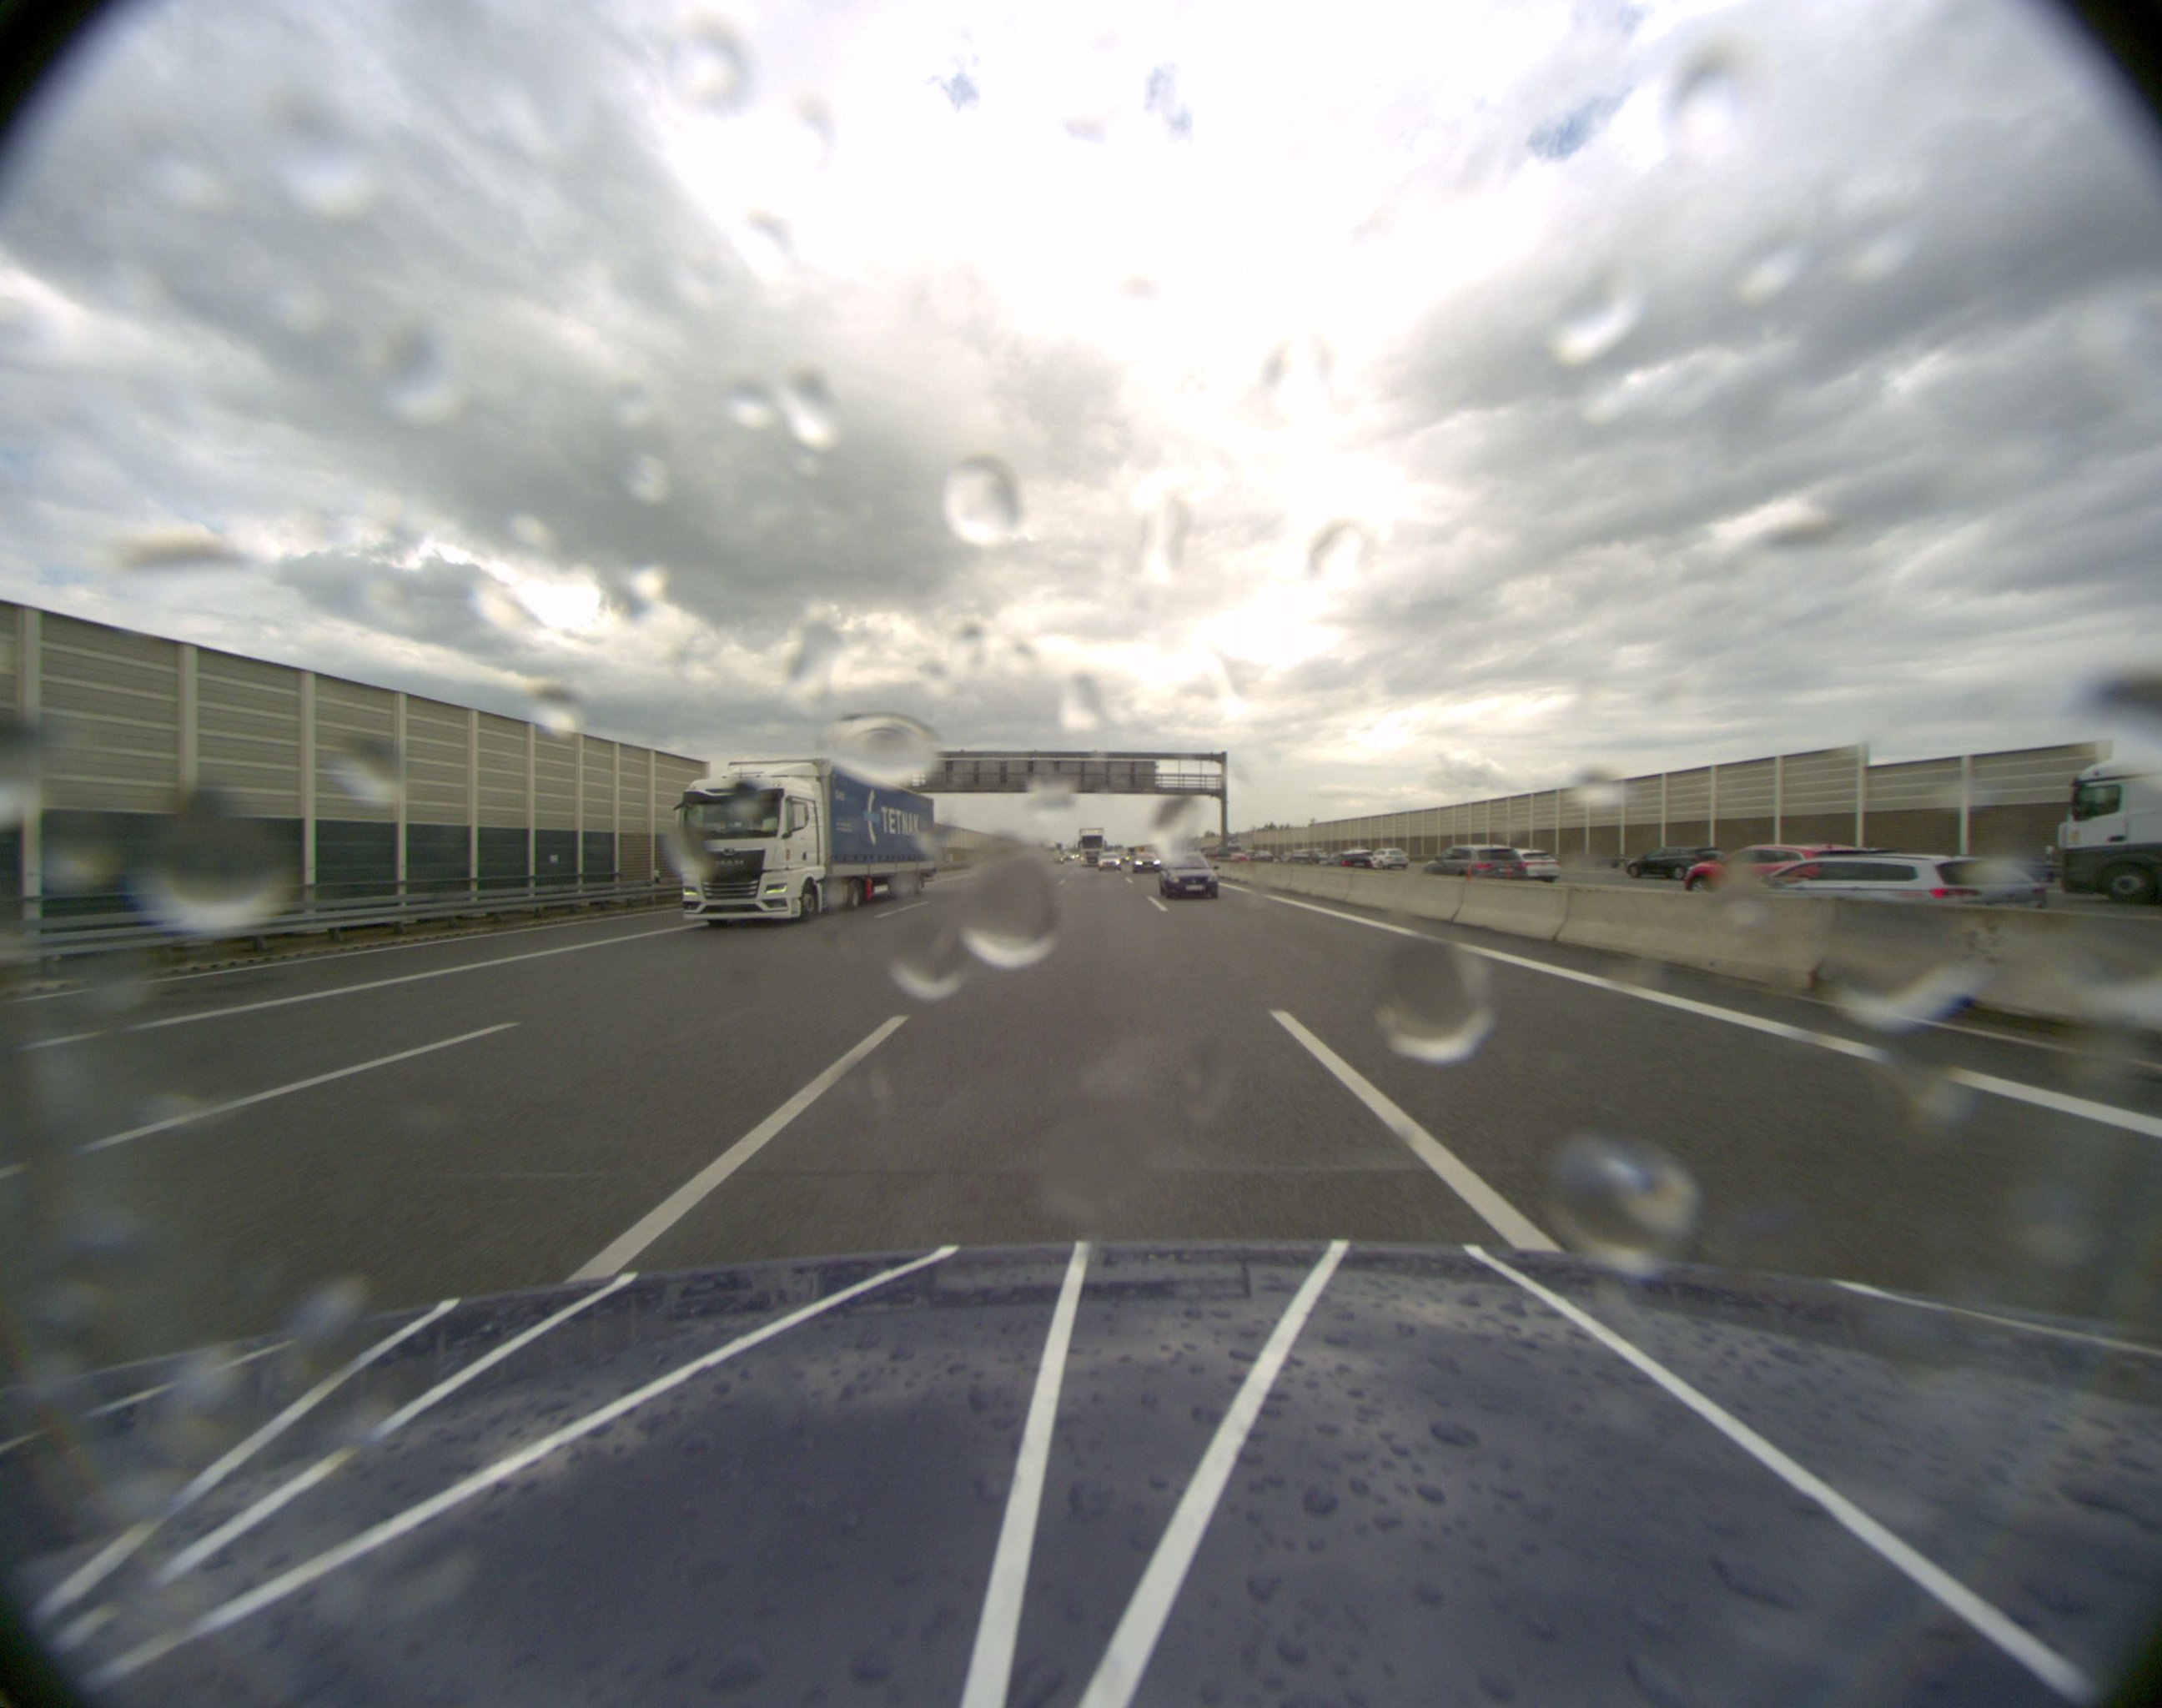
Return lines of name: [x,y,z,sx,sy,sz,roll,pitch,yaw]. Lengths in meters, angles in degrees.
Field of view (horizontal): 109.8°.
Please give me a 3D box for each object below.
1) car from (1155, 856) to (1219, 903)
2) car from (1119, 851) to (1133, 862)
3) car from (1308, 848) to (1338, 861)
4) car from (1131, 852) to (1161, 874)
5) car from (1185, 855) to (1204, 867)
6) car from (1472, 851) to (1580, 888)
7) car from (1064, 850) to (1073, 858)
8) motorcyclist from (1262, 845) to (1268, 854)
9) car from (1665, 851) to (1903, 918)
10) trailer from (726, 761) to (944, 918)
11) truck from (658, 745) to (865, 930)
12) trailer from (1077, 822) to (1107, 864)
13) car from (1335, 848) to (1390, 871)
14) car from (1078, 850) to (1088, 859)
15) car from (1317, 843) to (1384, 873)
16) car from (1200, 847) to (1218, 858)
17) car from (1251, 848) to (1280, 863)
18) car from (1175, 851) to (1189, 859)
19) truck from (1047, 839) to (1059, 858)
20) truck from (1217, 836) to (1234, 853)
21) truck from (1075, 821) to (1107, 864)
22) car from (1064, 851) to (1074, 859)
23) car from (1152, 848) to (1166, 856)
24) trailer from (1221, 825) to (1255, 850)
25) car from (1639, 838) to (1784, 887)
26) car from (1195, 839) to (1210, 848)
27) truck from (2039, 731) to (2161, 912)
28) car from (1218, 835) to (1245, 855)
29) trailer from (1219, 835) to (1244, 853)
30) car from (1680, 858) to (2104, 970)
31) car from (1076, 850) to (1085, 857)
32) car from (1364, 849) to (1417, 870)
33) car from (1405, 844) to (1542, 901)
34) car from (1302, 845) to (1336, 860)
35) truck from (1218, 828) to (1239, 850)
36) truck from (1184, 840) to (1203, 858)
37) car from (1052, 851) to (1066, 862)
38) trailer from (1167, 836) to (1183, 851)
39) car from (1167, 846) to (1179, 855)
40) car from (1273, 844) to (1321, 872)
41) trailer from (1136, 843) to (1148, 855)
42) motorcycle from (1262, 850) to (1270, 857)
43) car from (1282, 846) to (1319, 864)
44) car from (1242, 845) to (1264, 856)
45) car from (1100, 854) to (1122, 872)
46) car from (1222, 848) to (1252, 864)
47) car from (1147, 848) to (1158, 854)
car: [3.395,0.778,25.021,1.578,1.395,4.000,-1,0,1]
car: [5.836,0.317,98.661,1.498,1.395,3.999,-1,0,0]
car: [28.126,0.051,88.450,2.065,1.482,4.997,-1,1,2]
car: [4.511,0.582,53.373,1.776,1.451,4.480,-1,0,2]
car: [15.214,0.861,102.065,2.065,1.482,4.997,-1,1,2]
car: [18.758,0.612,32.316,2.065,1.408,4.523,-1,1,2]
car: [-2.228,0.031,138.590,1.498,1.395,3.999,-1,0,0]
motorcyclist: [26.981,-0.628,111.372,0.638,1.217,0.796,-2,1,1]
car: [18.367,0.706,20.259,2.065,1.526,4.719,-1,1,2]
trailer: [-7.679,-0.409,26.914,2.768,4.008,14.452,-1,0,1]
truck: [-7.796,-0.371,19.471,2.751,4.011,5.725,-1,1,1]
trailer: [1.325,-1.149,84.807,2.925,4.188,13.197,-2,0,2]
car: [19.402,0.332,52.650,2.065,1.482,4.997,-1,1,2]
car: [0.384,0.057,131.334,1.698,1.395,4.000,-1,0,0]
car: [14.723,0.168,41.788,2.065,1.526,4.997,-1,1,2]
car: [19.516,-0.236,116.319,2.065,1.482,4.997,-1,1,2]
car: [19.865,0.117,81.832,2.065,1.482,4.997,-1,1,2]
car: [19.864,0.189,149.140,2.065,1.590,4.996,-1,1,0]
truck: [-6.392,-1.254,173.946,2.600,4.088,11.368,-1,0,-2]
truck: [34.552,-2.278,181.963,2.924,4.011,5.725,-1,1,0]
truck: [1.095,-1.126,78.245,2.913,4.146,5.193,-2,0,3]
car: [-2.136,0.110,138.453,1.699,1.395,3.999,-1,0,-3]
car: [14.516,-0.347,141.893,2.065,1.482,4.996,-1,1,-1]
trailer: [27.022,-2.698,131.631,2.768,4.008,14.451,-1,0,0]
car: [26.209,0.300,31.887,2.065,1.869,4.997,-1,1,2]
car: [23.133,-1.953,144.369,2.065,1.590,4.996,-1,1,0]
truck: [25.480,-0.739,16.187,2.979,4.011,5.726,-1,1,2]
car: [19.666,-1.142,99.582,2.389,2.535,7.086,-1,1,2]
trailer: [34.566,-2.227,174.839,2.943,4.008,13.858,-1,0,0]
car: [14.145,0.906,13.978,2.065,1.526,5.470,-1,1,2]
car: [-0.136,-0.086,169.501,1.698,1.395,4.000,-1,0,2]
car: [22.877,0.367,56.413,2.065,1.482,4.997,-1,1,2]
car: [14.467,0.586,28.549,2.065,1.869,6.328,-1,1,2]
car: [24.255,-0.164,77.759,2.065,1.482,4.997,-1,1,2]
truck: [27.011,-2.731,139.108,2.752,4.011,5.725,-1,1,0]
truck: [23.928,-1.100,161.653,2.703,3.507,9.995,-2,0,1]
car: [-2.962,0.301,102.183,1.698,1.395,3.999,-1,0,0]
trailer: [27.219,-3.036,220.439,2.768,4.008,14.451,-1,0,0]
car: [19.915,-0.748,164.440,1.878,1.689,5.014,-1,0,-1]
car: [15.028,0.247,53.215,2.065,1.869,4.997,-1,1,2]
trailer: [21.573,-1.866,270.272,2.768,4.008,14.449,-1,0,-1]
motorcycle: [27.087,-0.060,111.336,0.519,1.001,2.431,-2,0,1]
car: [19.512,0.053,67.794,2.065,1.482,4.997,-1,1,2]
car: [23.813,-0.530,105.265,2.065,1.482,4.997,-1,1,2]
car: [2.419,0.725,62.061,1.732,1.395,4.000,-1,0,2]
car: [15.259,0.141,74.405,2.065,1.482,4.997,-1,1,2]
car: [15.574,-0.603,165.291,1.878,1.291,5.599,-1,0,-1]
